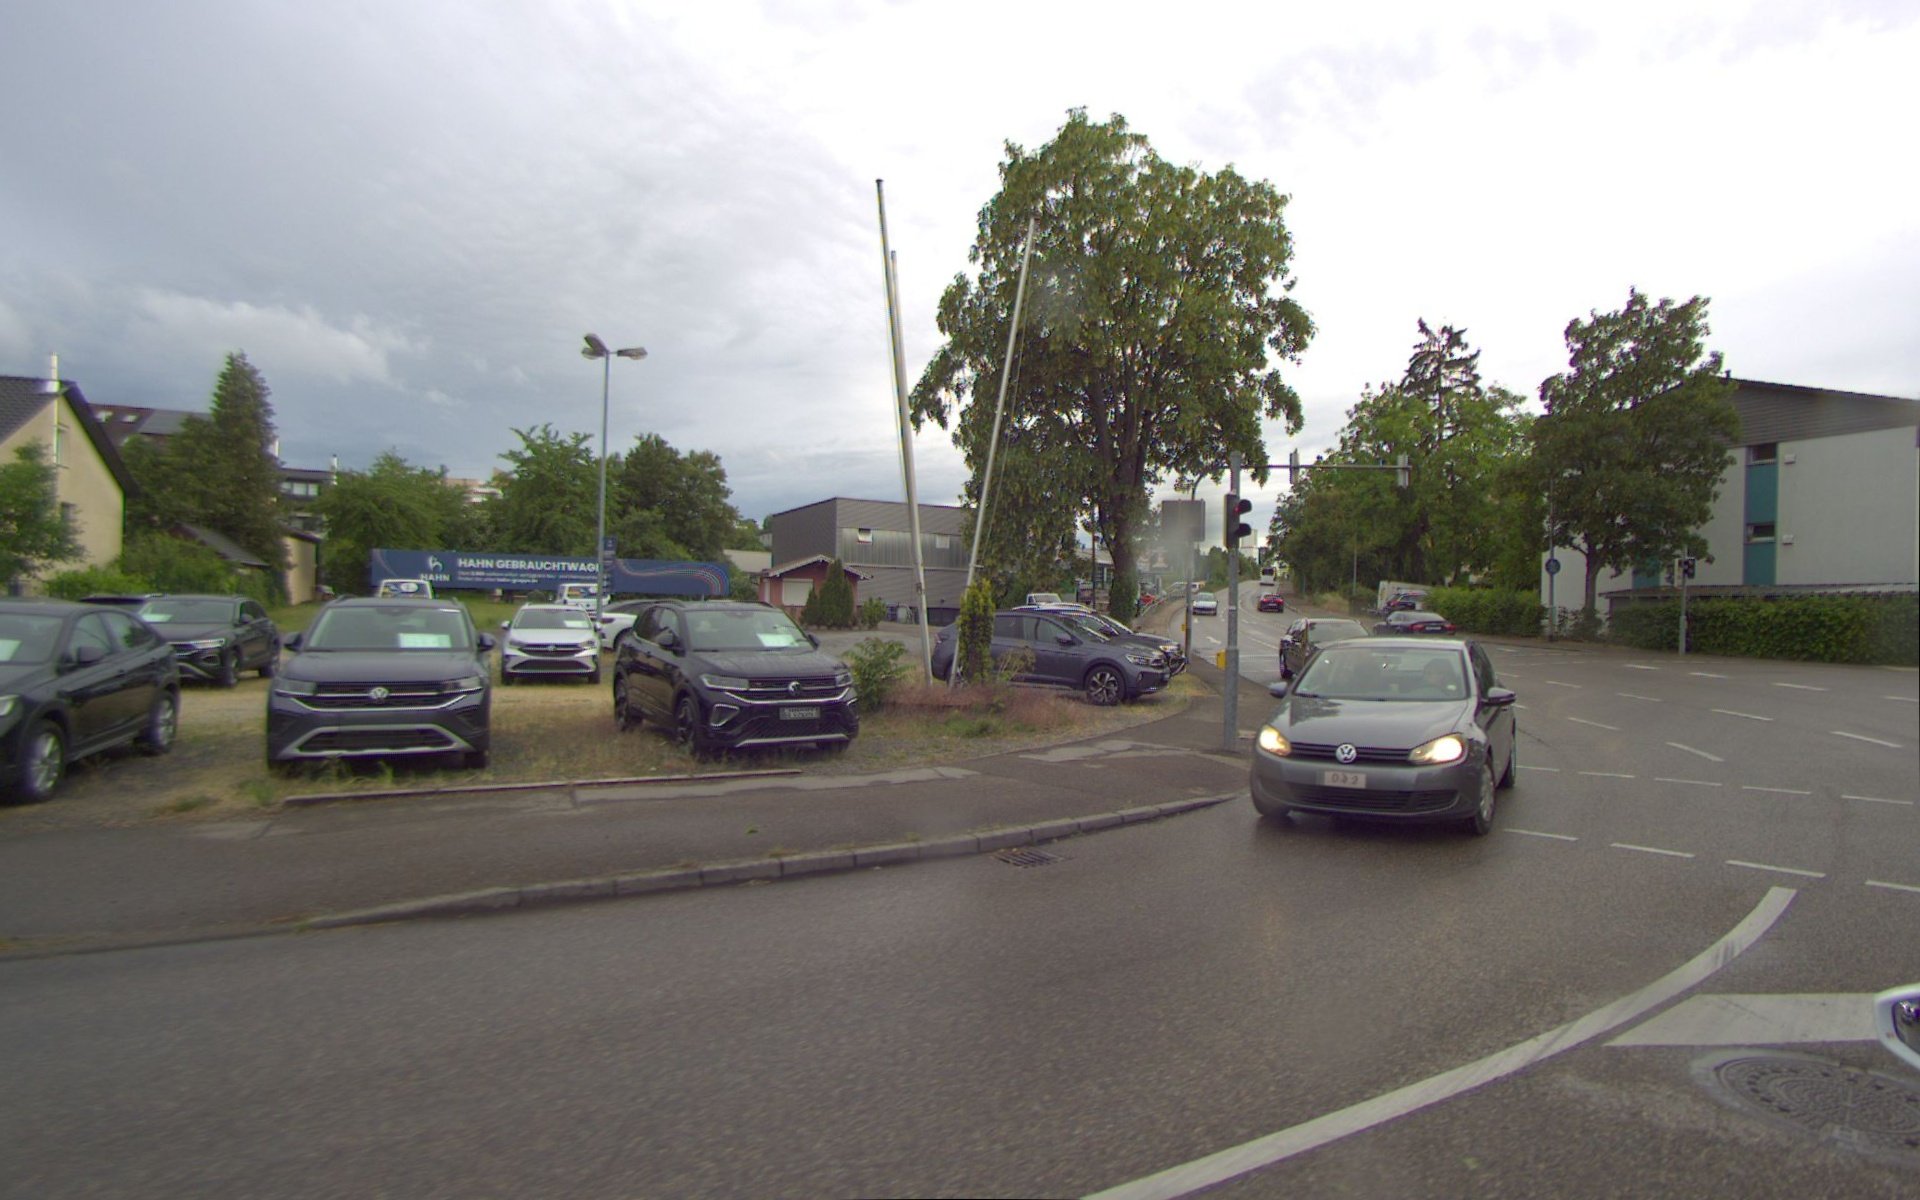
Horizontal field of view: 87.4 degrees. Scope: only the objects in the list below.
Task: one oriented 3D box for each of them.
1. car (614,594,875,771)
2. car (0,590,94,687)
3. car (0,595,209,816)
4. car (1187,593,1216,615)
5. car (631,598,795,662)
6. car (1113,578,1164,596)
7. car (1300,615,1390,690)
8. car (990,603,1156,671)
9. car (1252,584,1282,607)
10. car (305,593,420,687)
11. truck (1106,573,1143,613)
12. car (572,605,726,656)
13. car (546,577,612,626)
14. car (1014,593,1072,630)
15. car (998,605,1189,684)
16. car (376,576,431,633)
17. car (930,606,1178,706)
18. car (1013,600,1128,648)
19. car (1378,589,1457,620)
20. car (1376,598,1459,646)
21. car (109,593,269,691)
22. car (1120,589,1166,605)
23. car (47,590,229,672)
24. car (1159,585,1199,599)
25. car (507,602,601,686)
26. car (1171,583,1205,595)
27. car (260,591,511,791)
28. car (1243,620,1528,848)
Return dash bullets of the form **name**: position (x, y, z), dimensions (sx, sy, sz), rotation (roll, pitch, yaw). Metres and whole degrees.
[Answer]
- **car**: position (-2.562, 0.739, 11.183), dimensions (1.604, 1.551, 3.923), rotation (0, 1, -32)
- **car**: position (-15.805, 0.583, 16.194), dimensions (1.568, 1.447, 3.627), rotation (0, 1, -20)
- **car**: position (-8.071, 0.716, 8.401), dimensions (1.776, 1.460, 3.981), rotation (1, 1, -20)
- **car**: position (16.619, 0.274, 69.253), dimensions (1.559, 1.423, 3.709), rotation (1, 1, 8)
- **car**: position (-6.576, 0.745, 26.939), dimensions (3.966, 1.576, 1.693), rotation (0, 1, -39)
- **car**: position (16.926, -1.233, 95.143), dimensions (4.675, 1.645, 1.815), rotation (1, 0, 10)
- **car**: position (8.545, 1.106, 22.546), dimensions (1.678, 1.410, 4.350), rotation (-2, 0, 19)
- **car**: position (2.789, 0.873, 24.687), dimensions (3.919, 1.530, 1.758), rotation (1, 1, 9)
- **car**: position (23.679, -0.340, 77.464), dimensions (1.959, 1.706, 4.002), rotation (1, 0, 14)
- **car**: position (-10.236, 0.609, 17.392), dimensions (1.499, 1.393, 3.618), rotation (0, 1, -28)
- **truck**: position (11.335, -0.519, 68.748), dimensions (1.960, 2.573, 5.560), rotation (1, 1, 14)
- **car**: position (-8.991, 0.850, 29.215), dimensions (3.966, 1.331, 1.693), rotation (0, 1, -39)
- **car**: position (-15.634, 0.023, 41.083), dimensions (1.975, 1.896, 4.418), rotation (0, 1, -28)
- **car**: position (4.778, 0.634, 58.312), dimensions (1.968, 2.021, 3.984), rotation (0, 1, -18)
- **car**: position (2.927, 0.949, 21.731), dimensions (3.919, 1.576, 1.758), rotation (-1, 1, 14)
- **car**: position (-20.936, 0.129, 37.896), dimensions (1.701, 2.000, 4.163), rotation (0, 1, -28)
- **car**: position (1.620, 0.909, 17.387), dimensions (3.908, 1.511, 1.755), rotation (-1, 1, 26)
- **car**: position (4.222, 0.913, 38.417), dimensions (3.944, 1.542, 1.750), rotation (4, 0, -23)
- **car**: position (27.005, 0.240, 59.446), dimensions (3.919, 1.747, 2.001), rotation (1, 1, 15)
- **car**: position (16.644, 0.765, 36.759), dimensions (1.959, 1.595, 4.002), rotation (1, 1, 13)
- **car**: position (-13.102, 0.638, 17.277), dimensions (1.572, 1.447, 3.618), rotation (0, 1, -28)
- **car**: position (16.768, -0.266, 92.107), dimensions (3.921, 1.394, 1.815), rotation (1, 0, 1)
- **car**: position (-17.612, 0.585, 21.759), dimensions (1.726, 1.573, 3.983), rotation (0, 1, -19)
- **car**: position (28.549, -1.067, 130.940), dimensions (4.694, 1.645, 1.808), rotation (1, 0, -17)
- **car**: position (-7.954, 0.845, 19.804), dimensions (1.567, 1.483, 3.756), rotation (0, -2, -21)
- **car**: position (33.838, -1.683, 148.946), dimensions (4.694, 1.645, 1.808), rotation (1, 0, -17)
- **car**: position (-5.523, 0.709, 10.125), dimensions (1.667, 1.551, 3.938), rotation (0, 1, -22)
- **car**: position (3.984, 0.978, 8.996), dimensions (1.700, 1.475, 3.990), rotation (-2, -1, 32)
